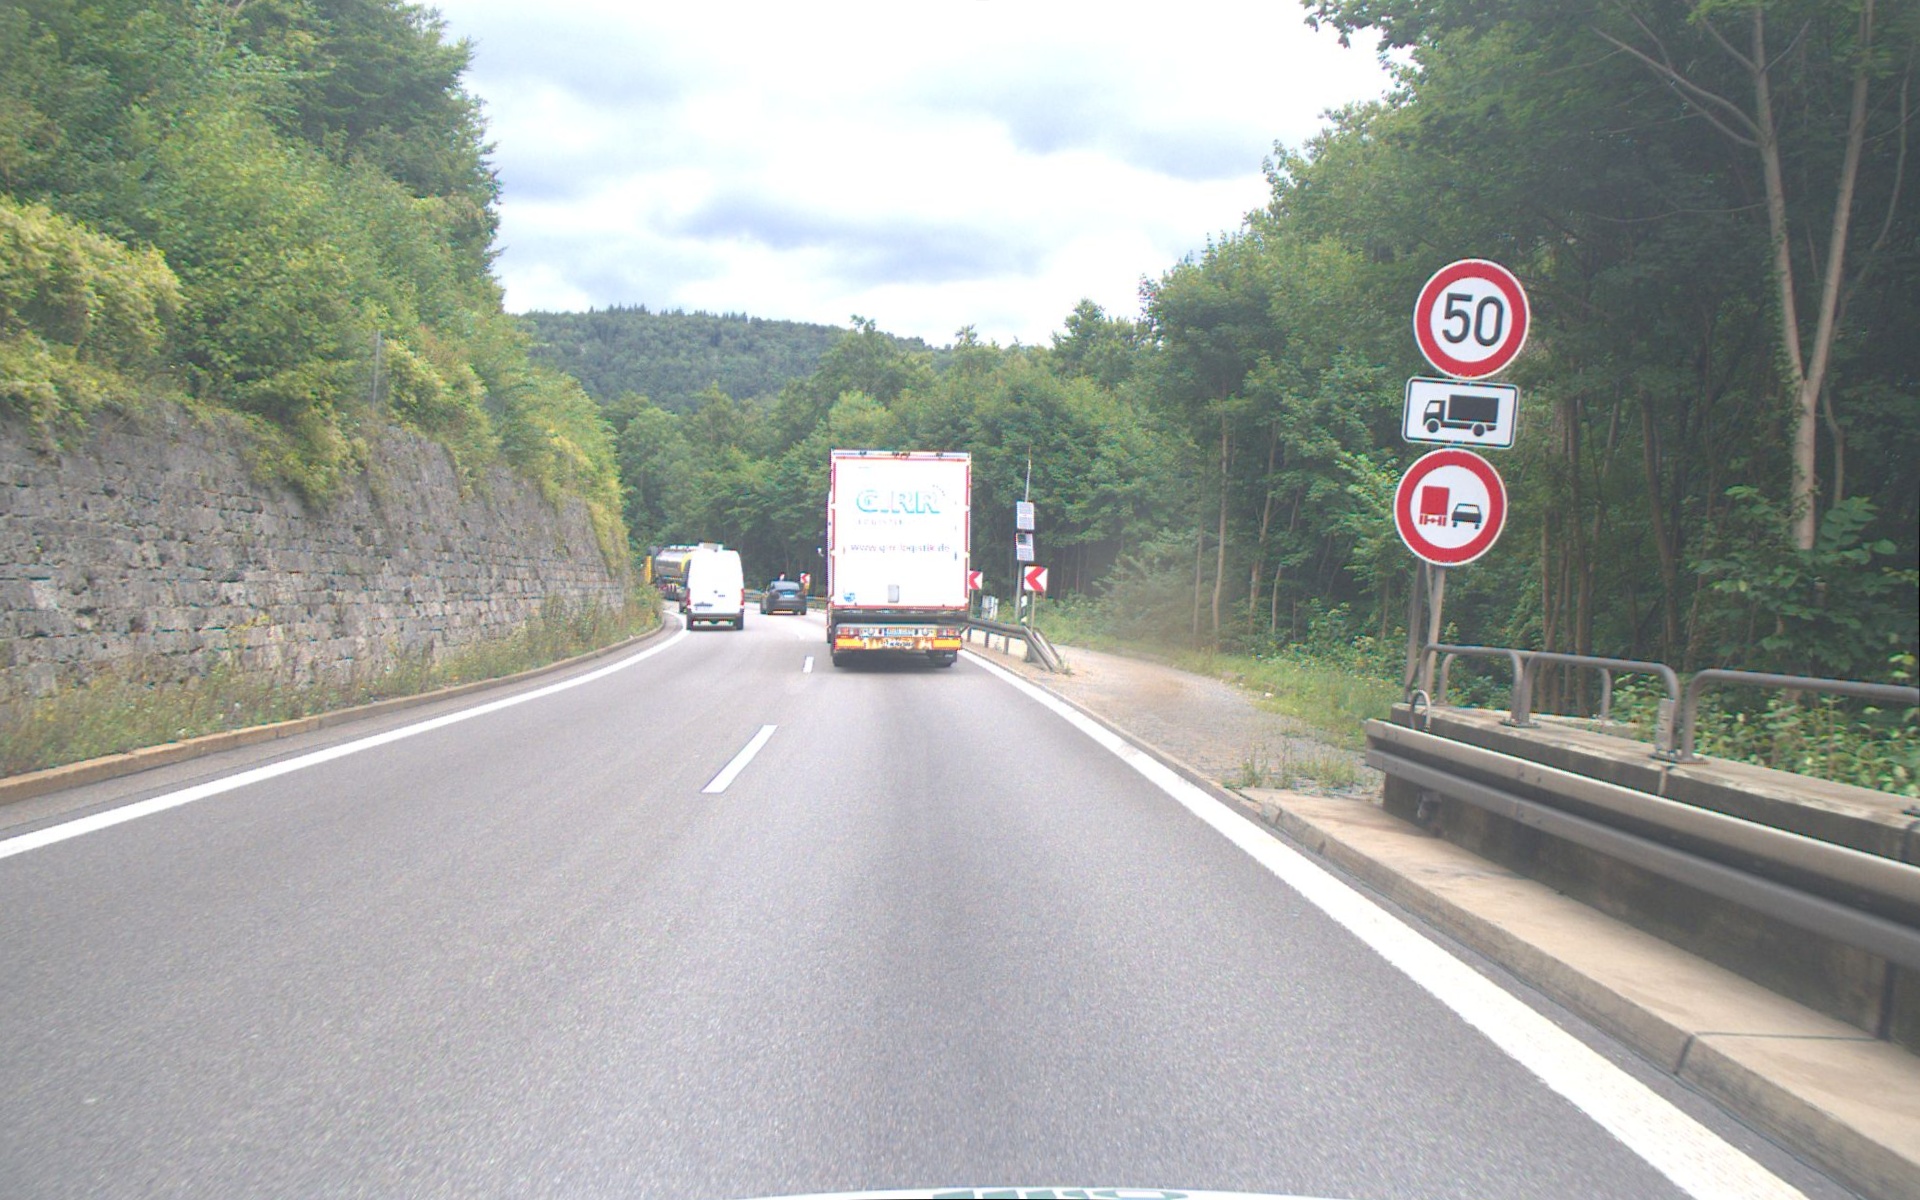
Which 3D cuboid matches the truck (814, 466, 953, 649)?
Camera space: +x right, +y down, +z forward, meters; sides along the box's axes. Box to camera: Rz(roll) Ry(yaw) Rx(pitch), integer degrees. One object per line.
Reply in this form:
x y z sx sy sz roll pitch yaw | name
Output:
-2.062 -1.081 41.695 2.998 4.055 7.181 3 1 -5 | truck

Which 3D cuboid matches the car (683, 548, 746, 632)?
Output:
-8.688 -0.379 58.509 1.952 2.718 6.922 3 0 -9 | car

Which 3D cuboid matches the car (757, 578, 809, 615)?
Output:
-8.622 -0.185 80.331 1.959 1.691 3.987 3 0 -13 | car

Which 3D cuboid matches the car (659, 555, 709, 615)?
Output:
-13.509 -0.758 80.700 1.906 2.718 5.971 3 0 -13 | car

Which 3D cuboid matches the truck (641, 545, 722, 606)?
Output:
-19.995 -1.822 117.984 3.014 4.055 13.612 0 2 -21 | truck

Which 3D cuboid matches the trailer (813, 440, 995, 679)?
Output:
-1.499 -0.890 35.316 2.998 4.055 12.126 3 2 -5 | trailer
